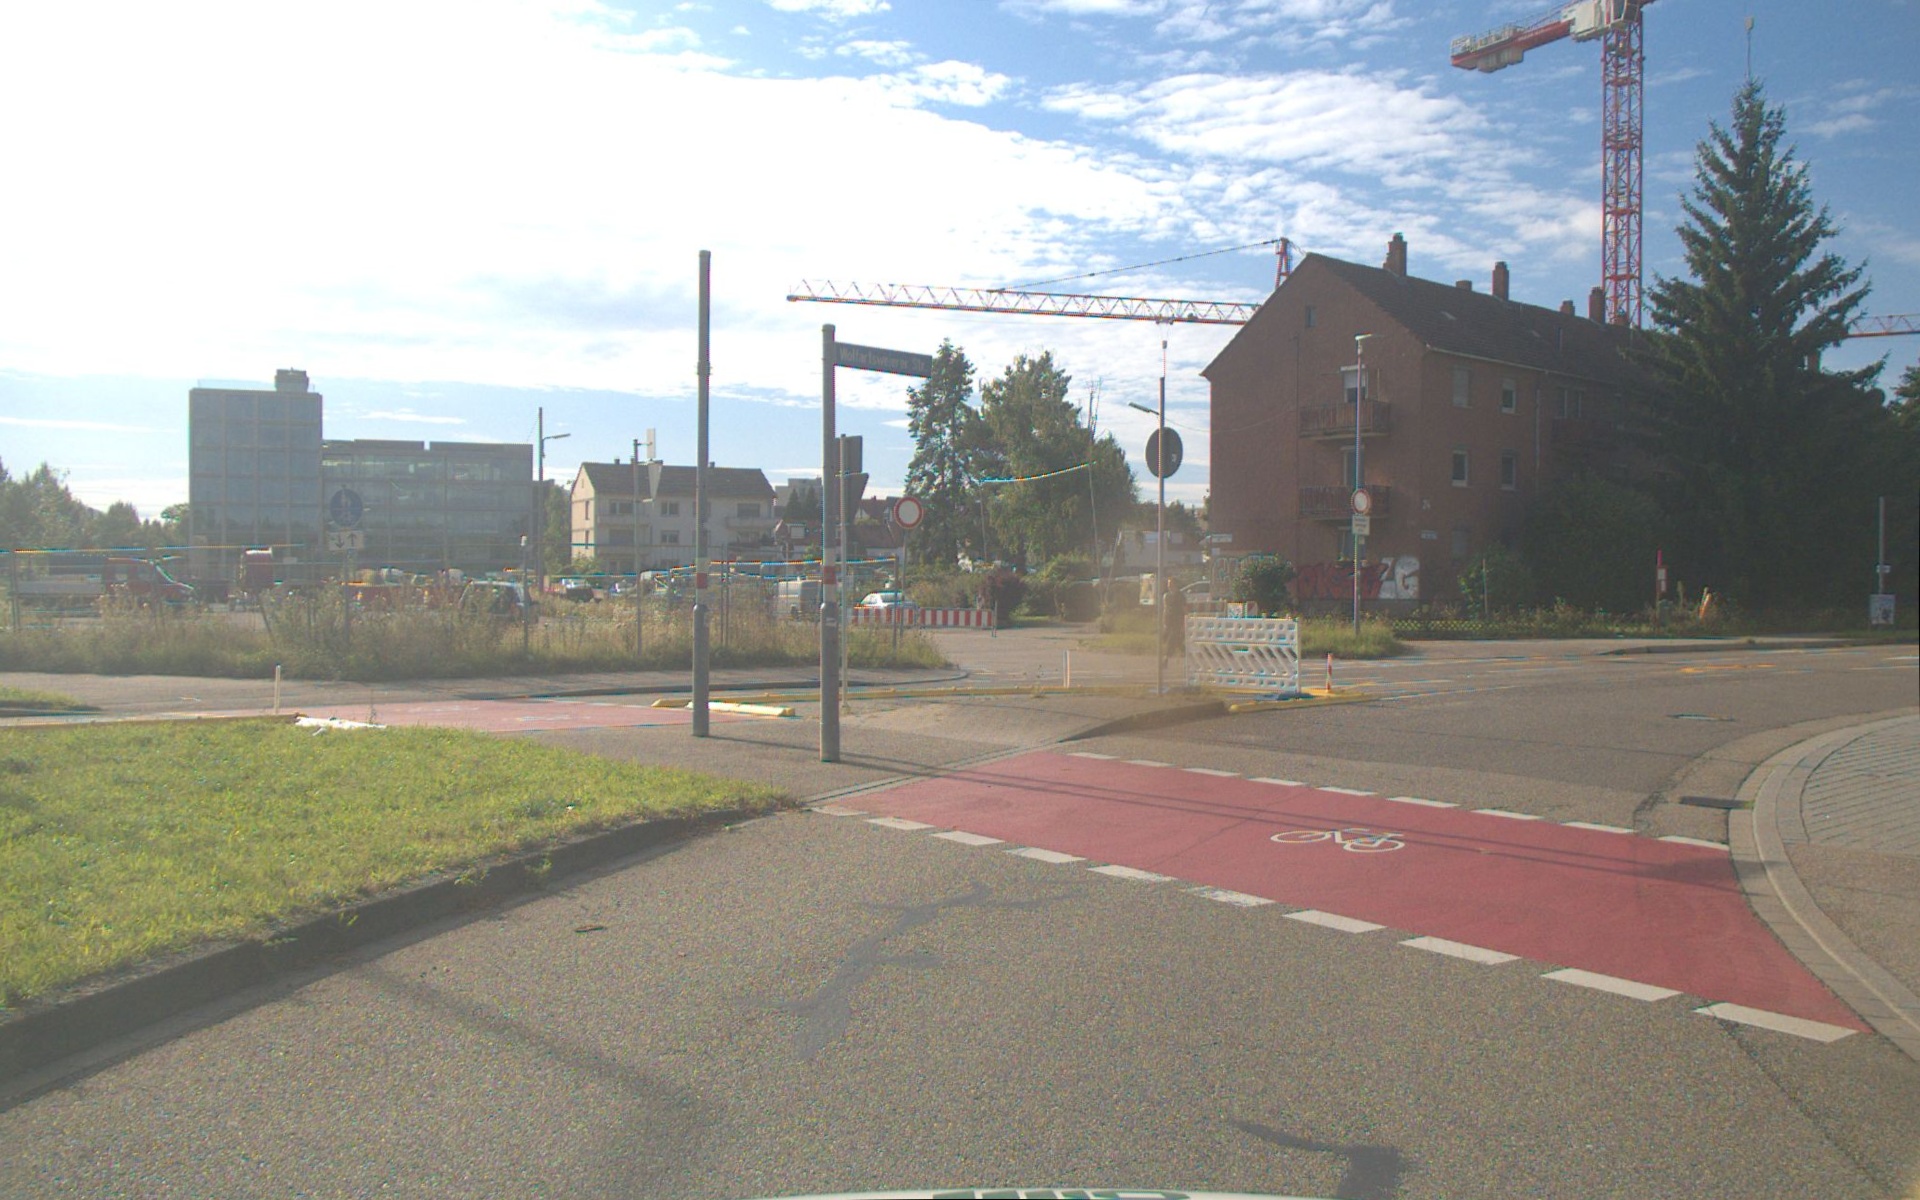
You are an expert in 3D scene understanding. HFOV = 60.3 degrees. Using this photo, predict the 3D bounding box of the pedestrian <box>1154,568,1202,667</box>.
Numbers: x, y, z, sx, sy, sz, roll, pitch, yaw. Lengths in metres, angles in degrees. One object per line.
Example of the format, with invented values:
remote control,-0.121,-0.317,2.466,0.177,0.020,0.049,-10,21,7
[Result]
pedestrian,4.279,0.335,32.460,0.655,1.903,0.833,0,0,31

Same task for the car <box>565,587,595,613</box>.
car,-29.293,-0.017,127.350,1.963,1.892,3.980,0,0,-18

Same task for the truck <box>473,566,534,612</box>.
truck,-24.282,-0.579,87.914,2.033,2.368,5.588,0,1,-27

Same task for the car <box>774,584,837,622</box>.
car,-7.668,0.126,82.000,1.856,1.847,3.967,0,0,-26

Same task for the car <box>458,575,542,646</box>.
car,-12.516,0.256,45.222,1.845,1.847,3.990,0,0,-10

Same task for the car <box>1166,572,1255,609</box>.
car,11.575,-0.451,76.402,3.902,1.646,1.775,0,0,14

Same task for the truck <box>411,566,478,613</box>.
truck,-27.022,-0.562,86.592,2.300,2.368,6.395,0,1,-27

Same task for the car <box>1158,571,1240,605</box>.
car,11.861,-0.592,82.264,3.903,1.646,1.774,0,0,3

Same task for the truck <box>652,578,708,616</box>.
truck,-17.090,-0.202,100.716,1.950,2.209,5.360,0,0,-26

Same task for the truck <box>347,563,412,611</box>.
truck,-29.842,-0.689,84.857,2.300,2.368,6.395,0,1,-27

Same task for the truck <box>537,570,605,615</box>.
truck,-20.975,-0.426,89.055,2.259,2.368,5.588,0,1,-27

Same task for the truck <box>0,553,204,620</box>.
truck,-35.366,-0.546,68.029,7.733,2.612,3.051,0,0,-25

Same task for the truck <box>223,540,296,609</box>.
truck,-34.769,-1.255,81.938,2.775,3.263,7.251,0,1,-27
